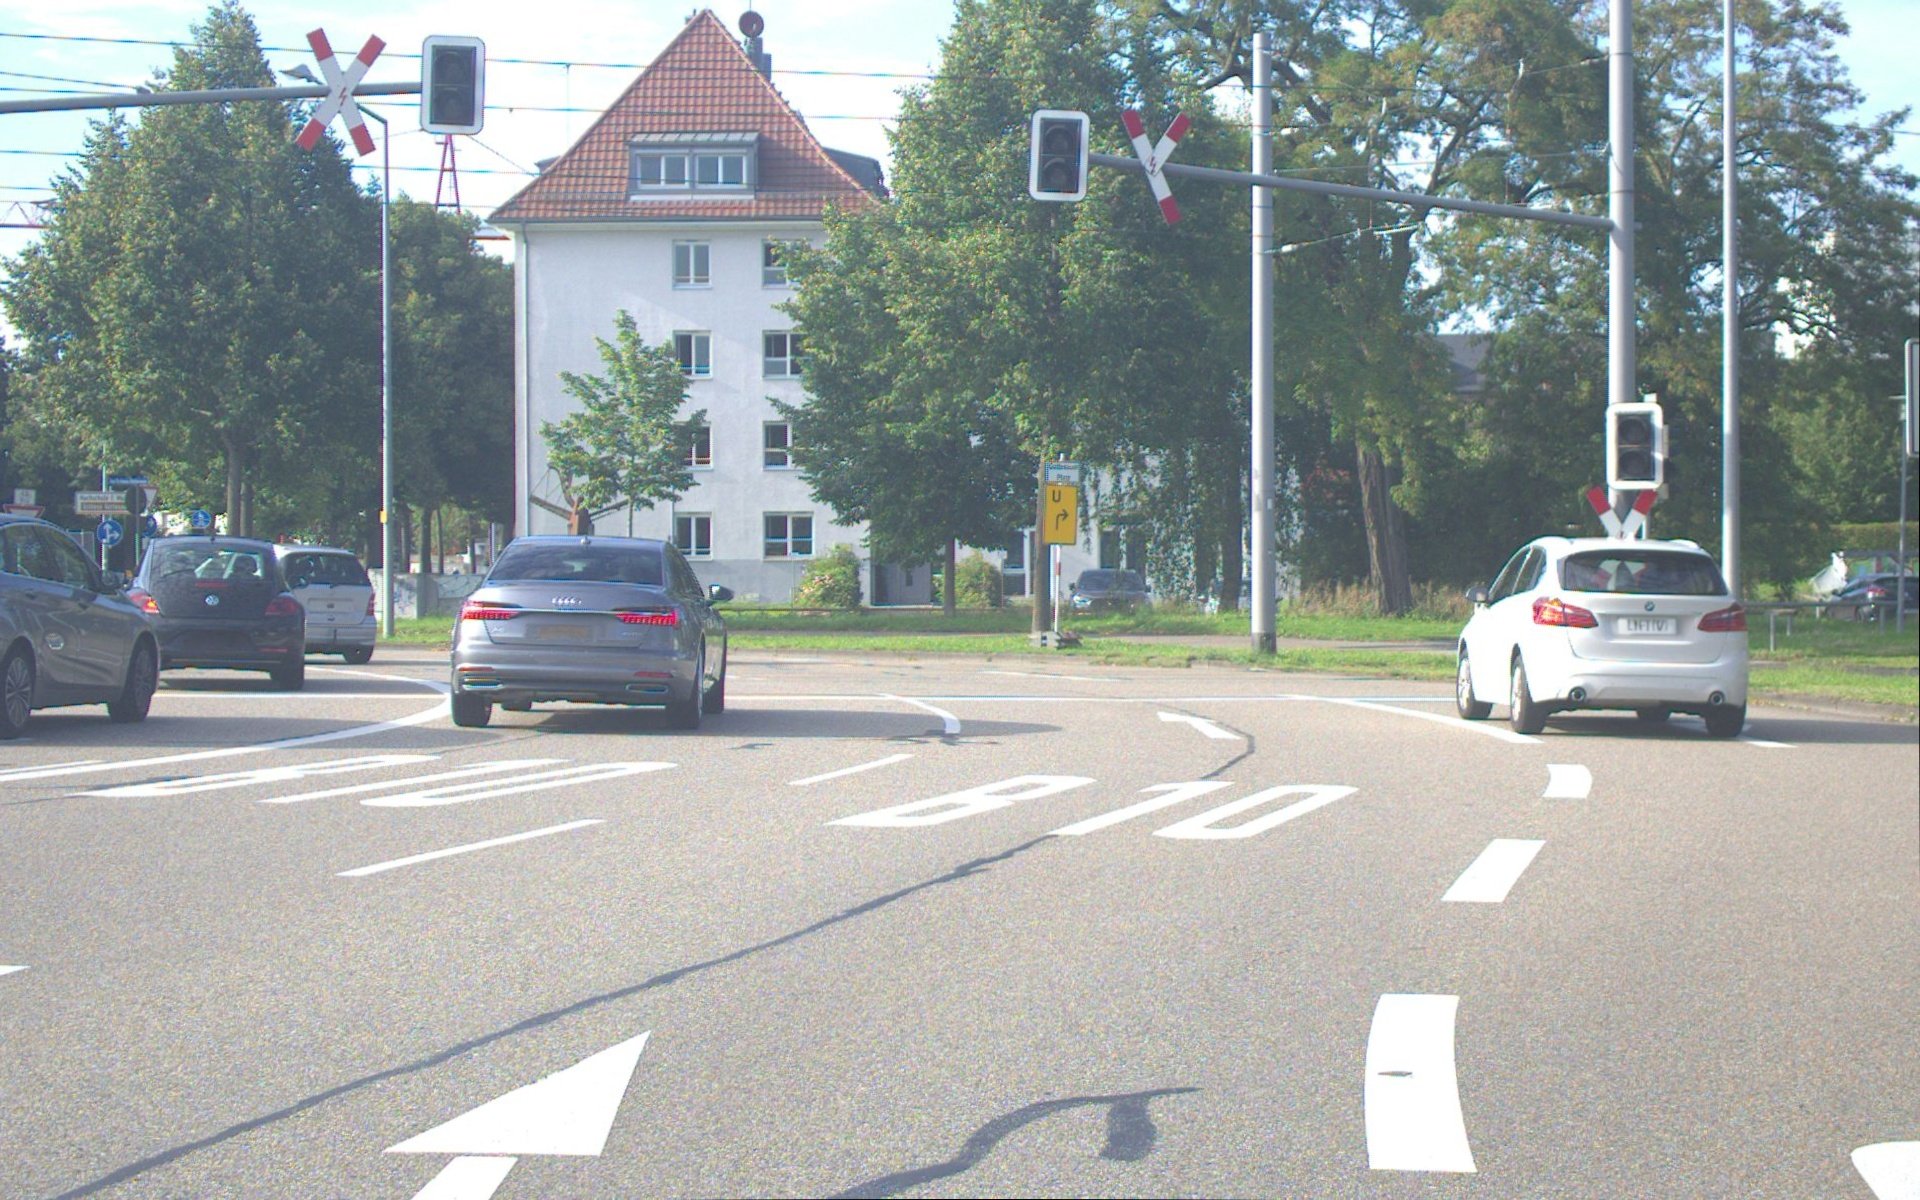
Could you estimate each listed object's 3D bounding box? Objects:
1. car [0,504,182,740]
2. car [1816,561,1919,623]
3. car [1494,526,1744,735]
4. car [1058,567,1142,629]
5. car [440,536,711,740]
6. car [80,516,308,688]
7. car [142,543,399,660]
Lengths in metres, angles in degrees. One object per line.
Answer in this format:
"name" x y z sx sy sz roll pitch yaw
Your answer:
"car" -7.086 0.138 24.454 1.768 1.567 4.066 1 0 6
"car" 20.881 -0.195 78.047 1.855 1.354 4.733 0 0 2
"car" 5.447 0.229 28.356 1.851 1.567 4.452 1 0 11
"car" 3.179 -0.060 78.385 1.855 1.376 4.515 0 0 2
"car" -2.935 0.268 27.071 1.850 1.440 4.715 1 0 -3
"car" -7.473 0.026 33.864 1.993 1.536 4.001 2 -1 -10
"car" -9.198 0.007 45.602 1.850 1.473 4.455 1 0 -32
